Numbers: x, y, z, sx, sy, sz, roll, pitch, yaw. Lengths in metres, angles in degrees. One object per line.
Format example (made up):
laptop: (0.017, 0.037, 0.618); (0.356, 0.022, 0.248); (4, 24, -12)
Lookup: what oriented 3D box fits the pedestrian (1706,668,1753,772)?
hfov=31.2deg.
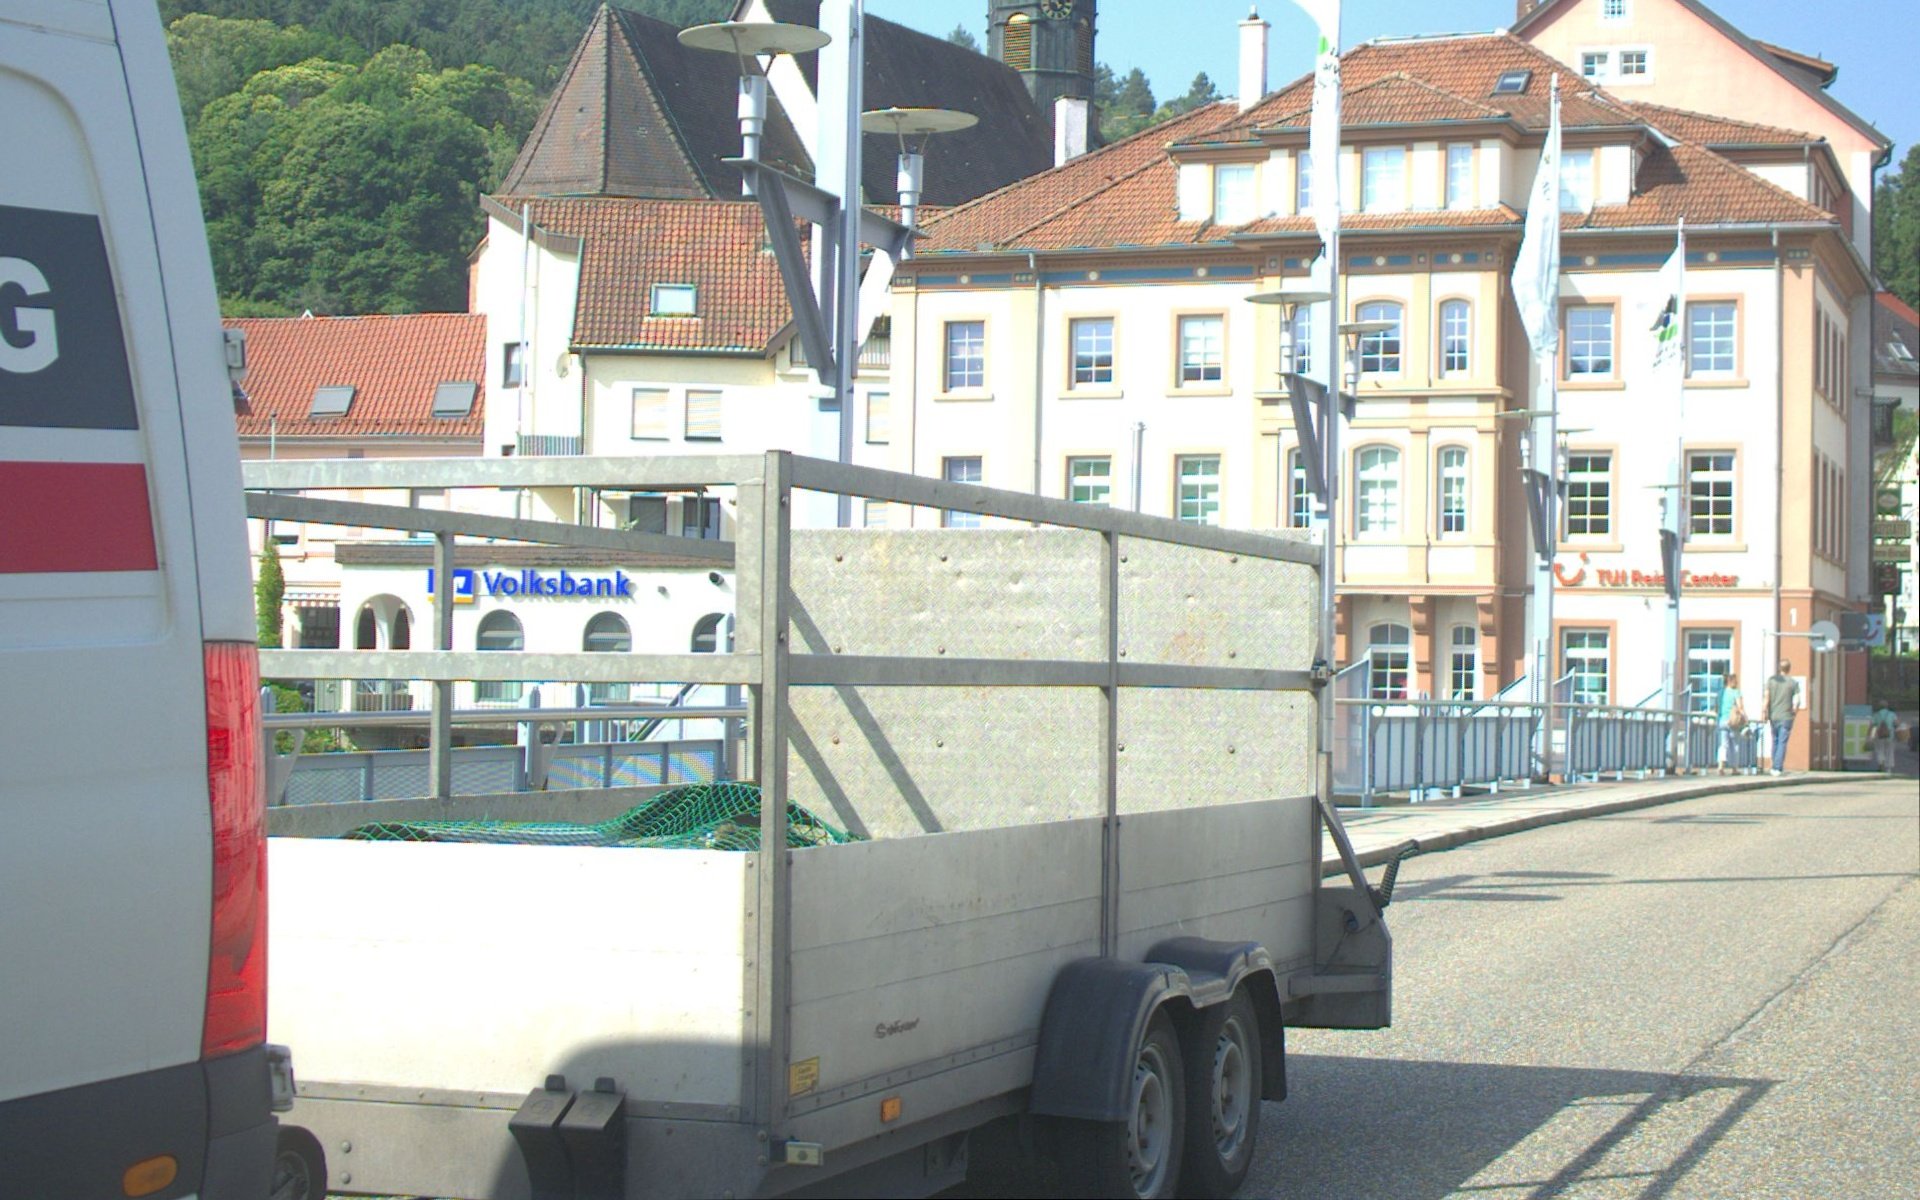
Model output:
pedestrian: (12.111, 1.888, 54.096); (0.584, 1.604, 0.536); (2, -1, 23)

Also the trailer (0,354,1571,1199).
trailer: (-0.685, 0.577, 8.251); (2.614, 1.821, 5.628); (0, -1, 28)

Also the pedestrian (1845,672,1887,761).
pedestrian: (19.159, 2.463, 72.720); (0.804, 1.851, 0.615); (1, -1, 18)

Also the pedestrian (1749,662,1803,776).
pedestrian: (12.774, 1.855, 53.802); (0.615, 1.757, 0.862); (1, -1, 24)

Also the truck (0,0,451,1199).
truck: (-3.400, 0.099, 2.425); (2.108, 2.690, 7.121); (0, 0, 29)
